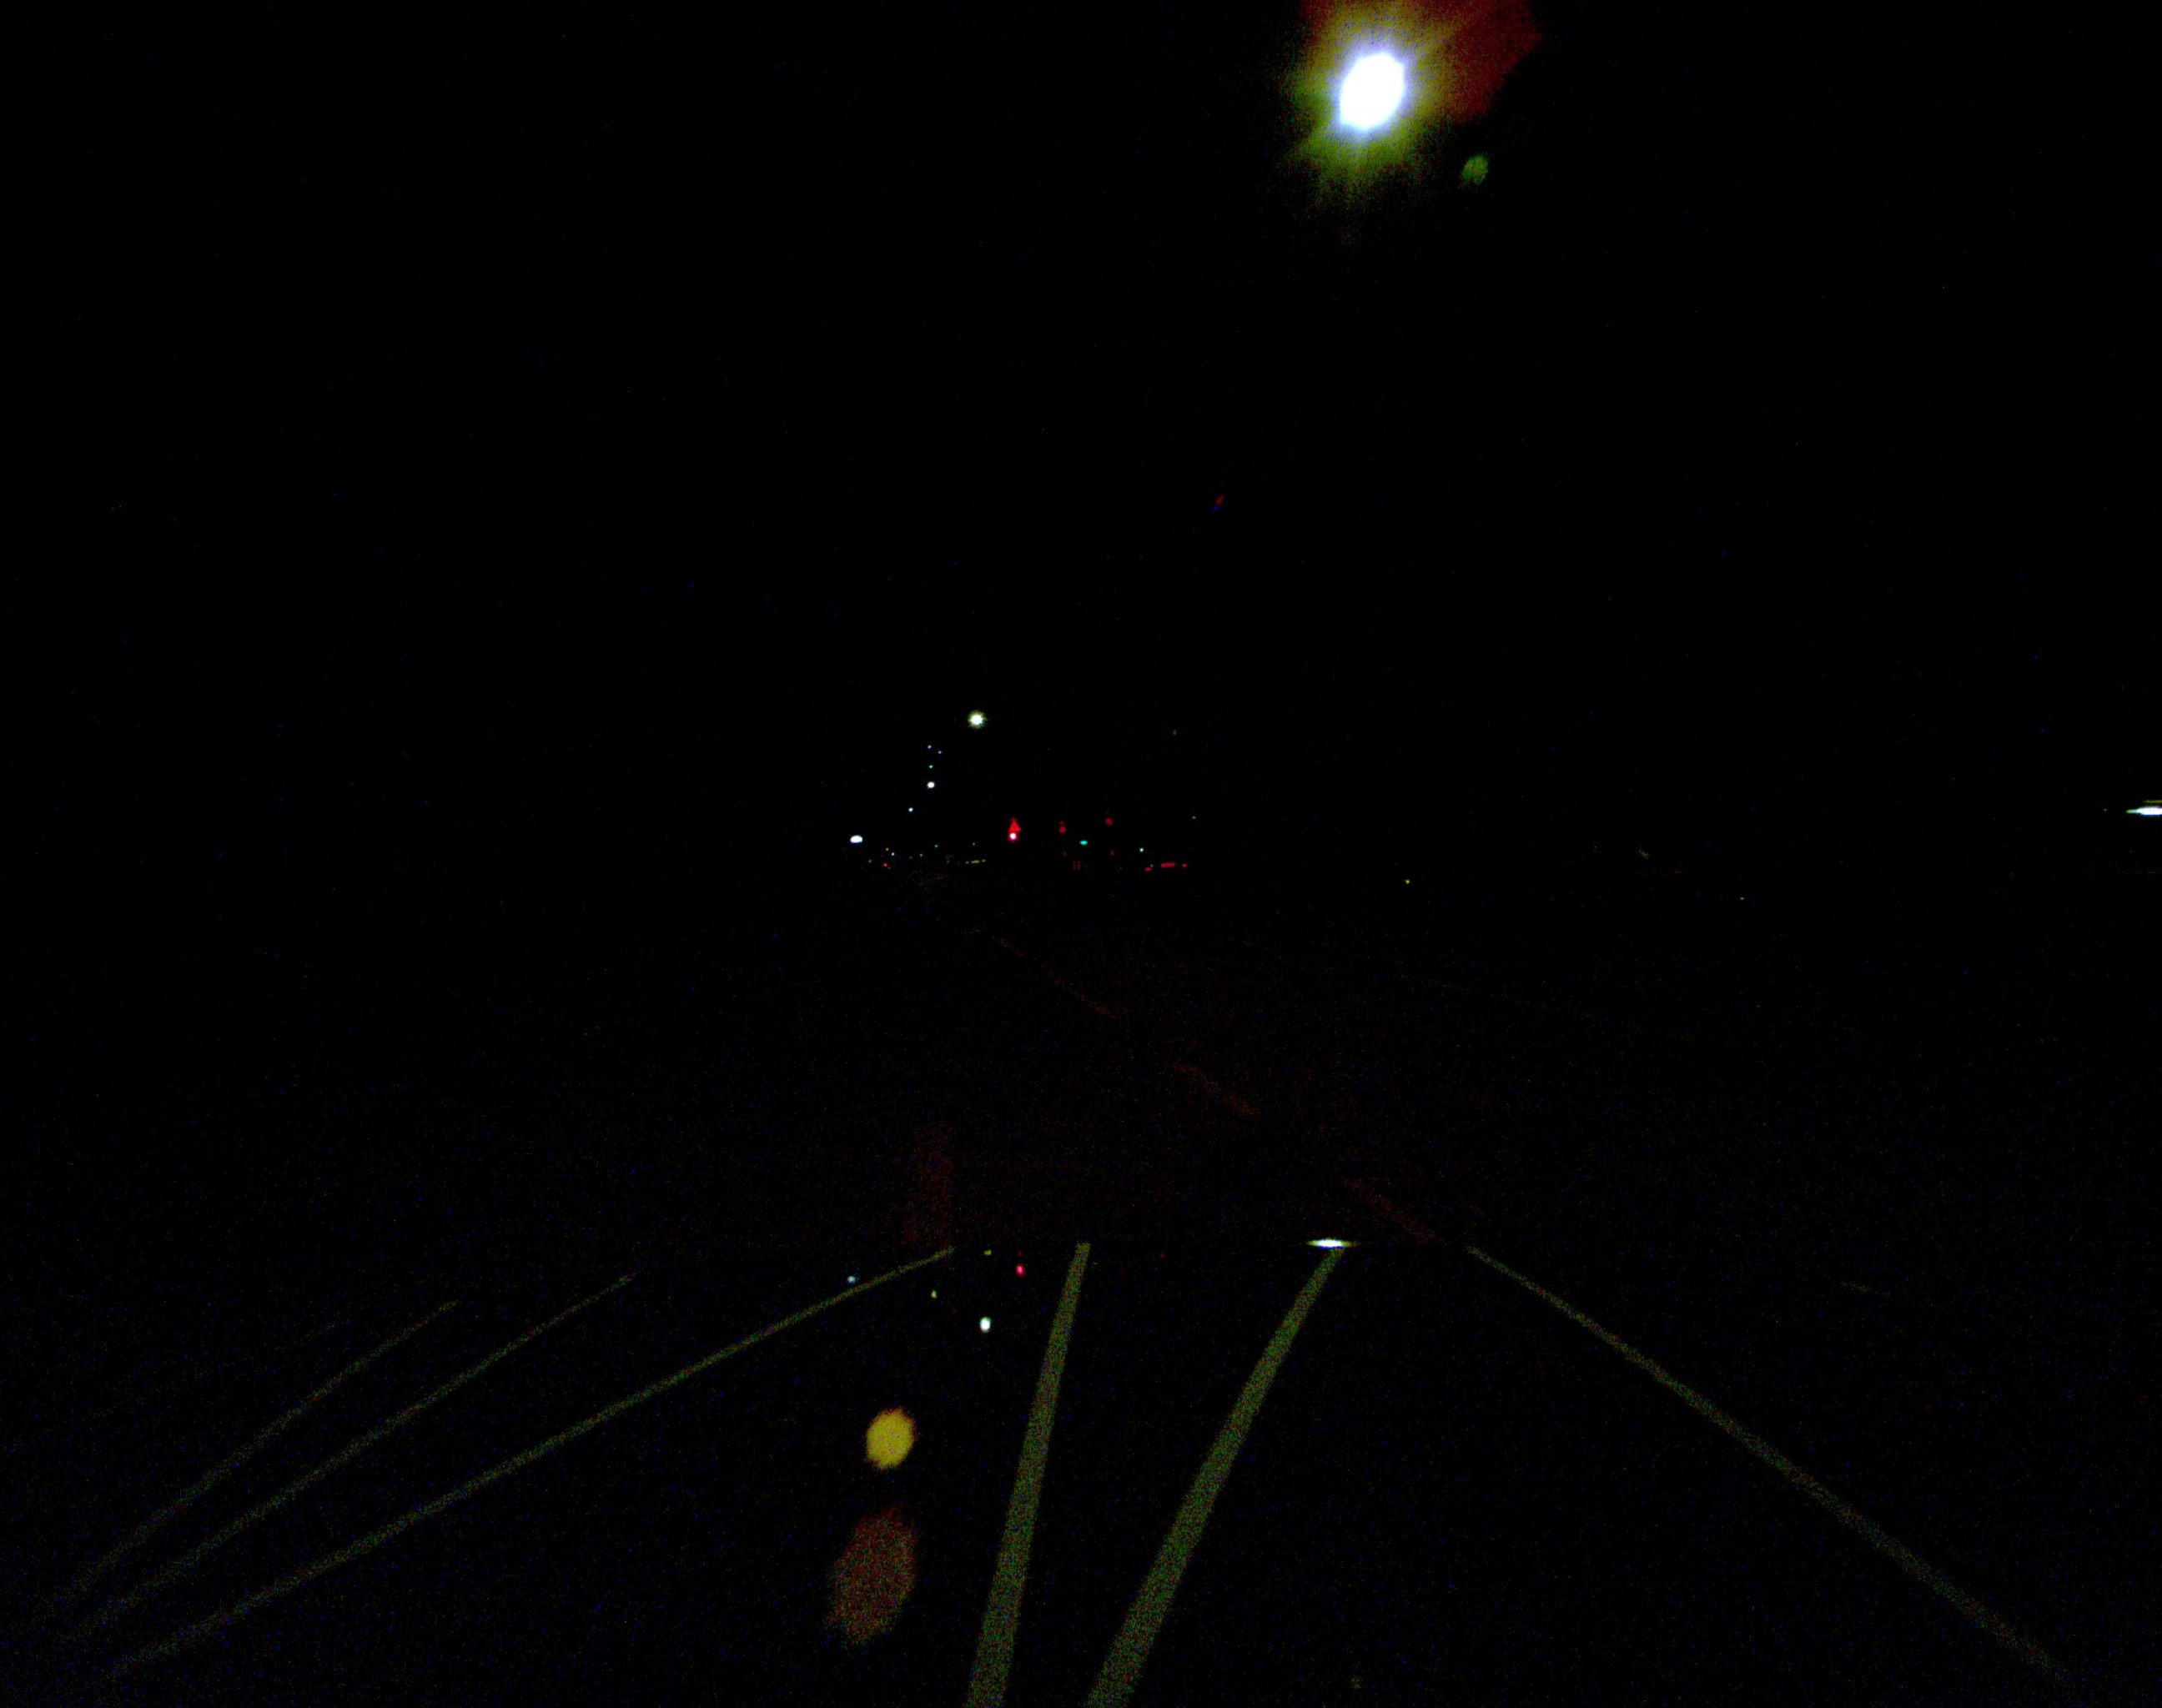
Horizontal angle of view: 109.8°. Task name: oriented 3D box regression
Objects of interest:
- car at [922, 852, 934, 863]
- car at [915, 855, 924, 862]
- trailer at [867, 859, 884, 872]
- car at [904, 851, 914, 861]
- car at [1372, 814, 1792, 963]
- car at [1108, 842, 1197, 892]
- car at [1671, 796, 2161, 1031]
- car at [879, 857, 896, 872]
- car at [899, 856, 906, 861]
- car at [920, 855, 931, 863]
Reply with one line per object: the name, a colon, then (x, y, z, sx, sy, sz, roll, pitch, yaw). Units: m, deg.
car: (-29.045, 0.672, 144.494, 1.884, 1.799, 3.726, -7, 1, -13)
car: (-36.522, 1.015, 171.407, 1.828, 1.637, 3.726, -3, 1, -14)
trailer: (-25.367, 1.389, 93.948, 1.606, 1.486, 3.730, -5, 1, -11)
car: (-48.551, 0.505, 214.647, 2.007, 2.493, 4.947, -7, 2, -16)
car: (6.309, 0.351, 10.410, 1.775, 1.477, 4.761, -3, 1, -16)
car: (2.394, 0.422, 26.351, 1.720, 1.485, 3.985, -5, 1, -14)
car: (7.530, 0.341, 5.638, 1.774, 1.477, 4.857, -3, 1, -15)
car: (-21.846, 1.170, 85.972, 1.592, 1.453, 3.792, -5, 1, -12)
car: (-56.598, 1.547, 240.878, 1.828, 1.424, 3.726, -7, 1, -16)
car: (-30.711, 0.980, 150.160, 1.828, 1.424, 3.726, -7, 1, -13)
